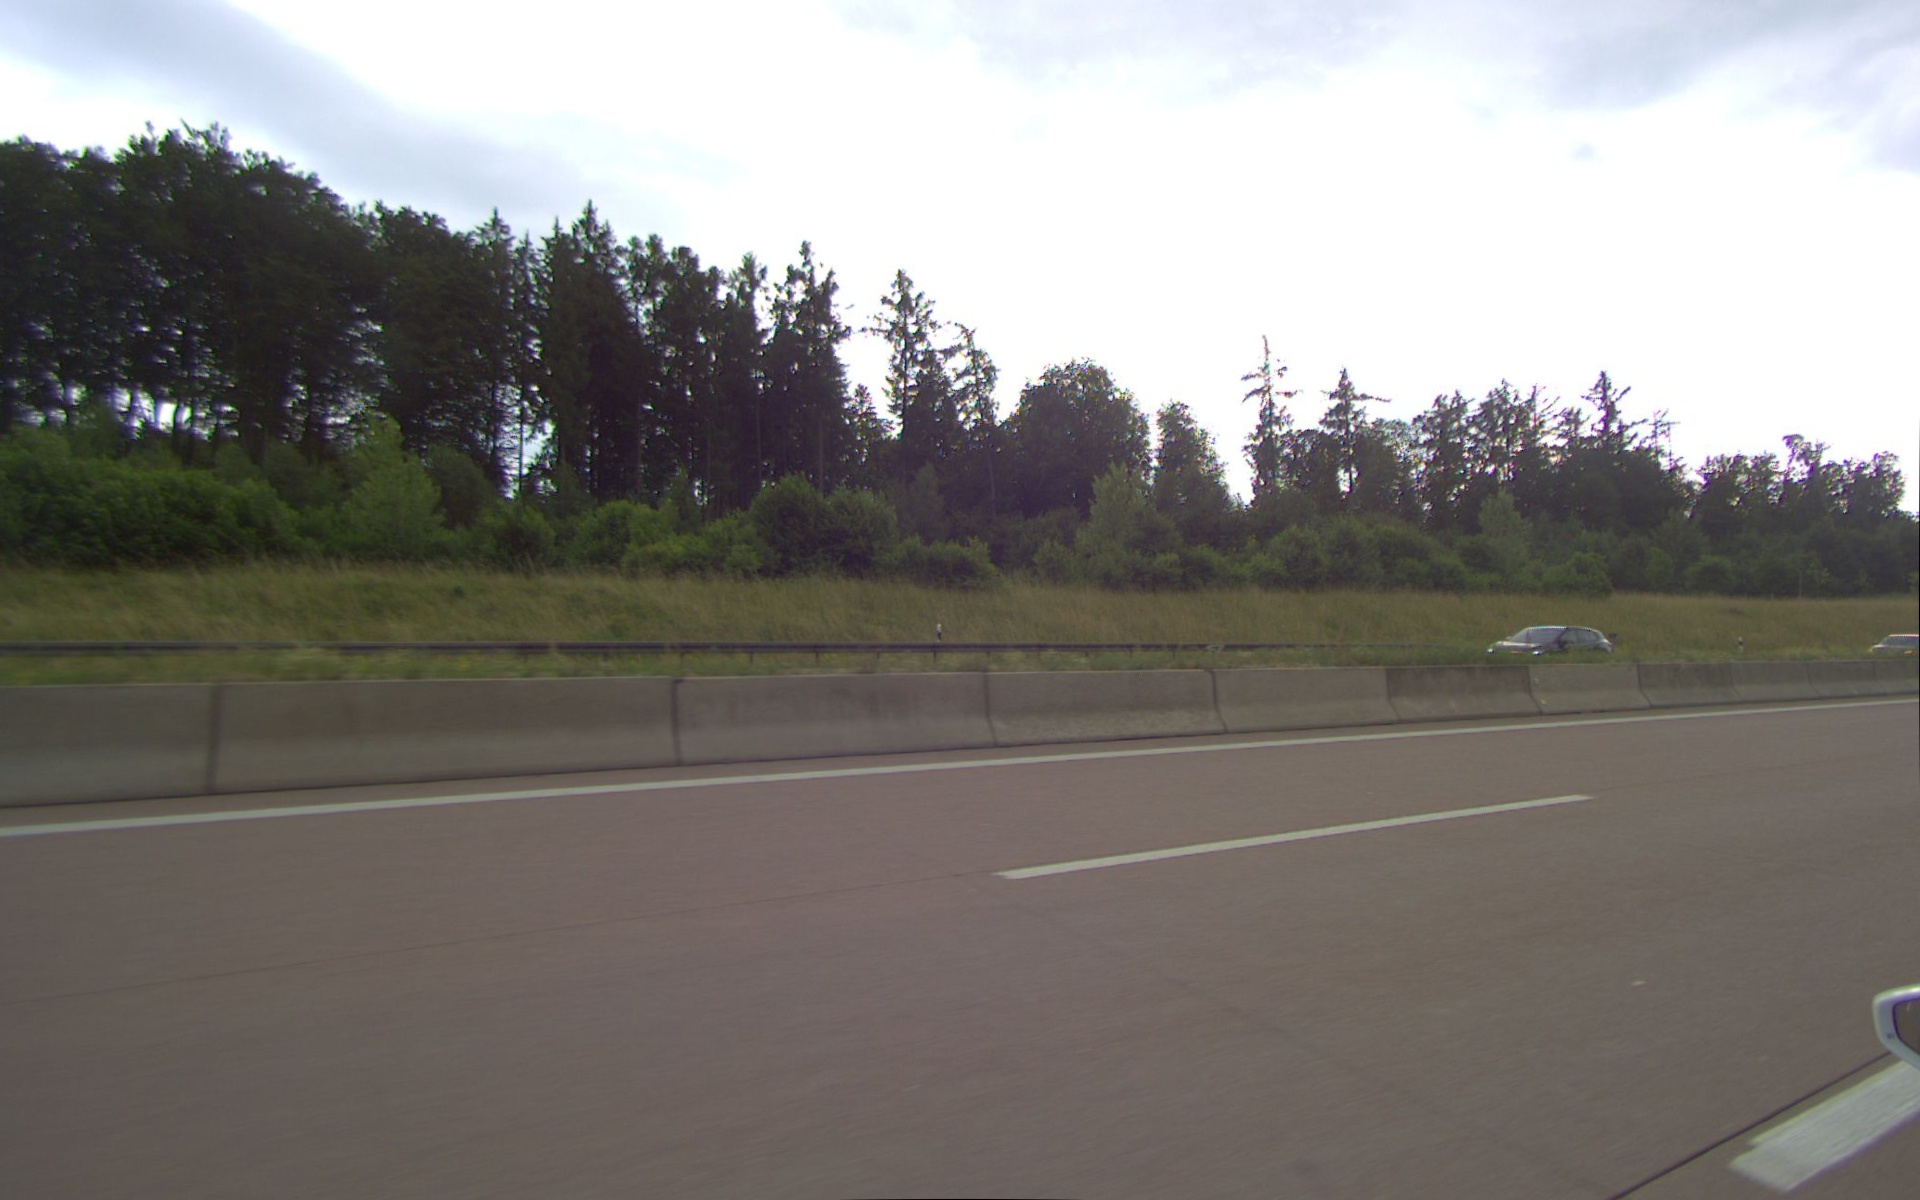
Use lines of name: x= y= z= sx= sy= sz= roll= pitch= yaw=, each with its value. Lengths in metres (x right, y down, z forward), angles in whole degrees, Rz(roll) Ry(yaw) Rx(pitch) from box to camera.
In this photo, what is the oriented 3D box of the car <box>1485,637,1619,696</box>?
car: x=18.481 y=2.068 z=31.325 sx=4.332 sy=1.660 sz=1.753 roll=3 pitch=-1 yaw=-32
